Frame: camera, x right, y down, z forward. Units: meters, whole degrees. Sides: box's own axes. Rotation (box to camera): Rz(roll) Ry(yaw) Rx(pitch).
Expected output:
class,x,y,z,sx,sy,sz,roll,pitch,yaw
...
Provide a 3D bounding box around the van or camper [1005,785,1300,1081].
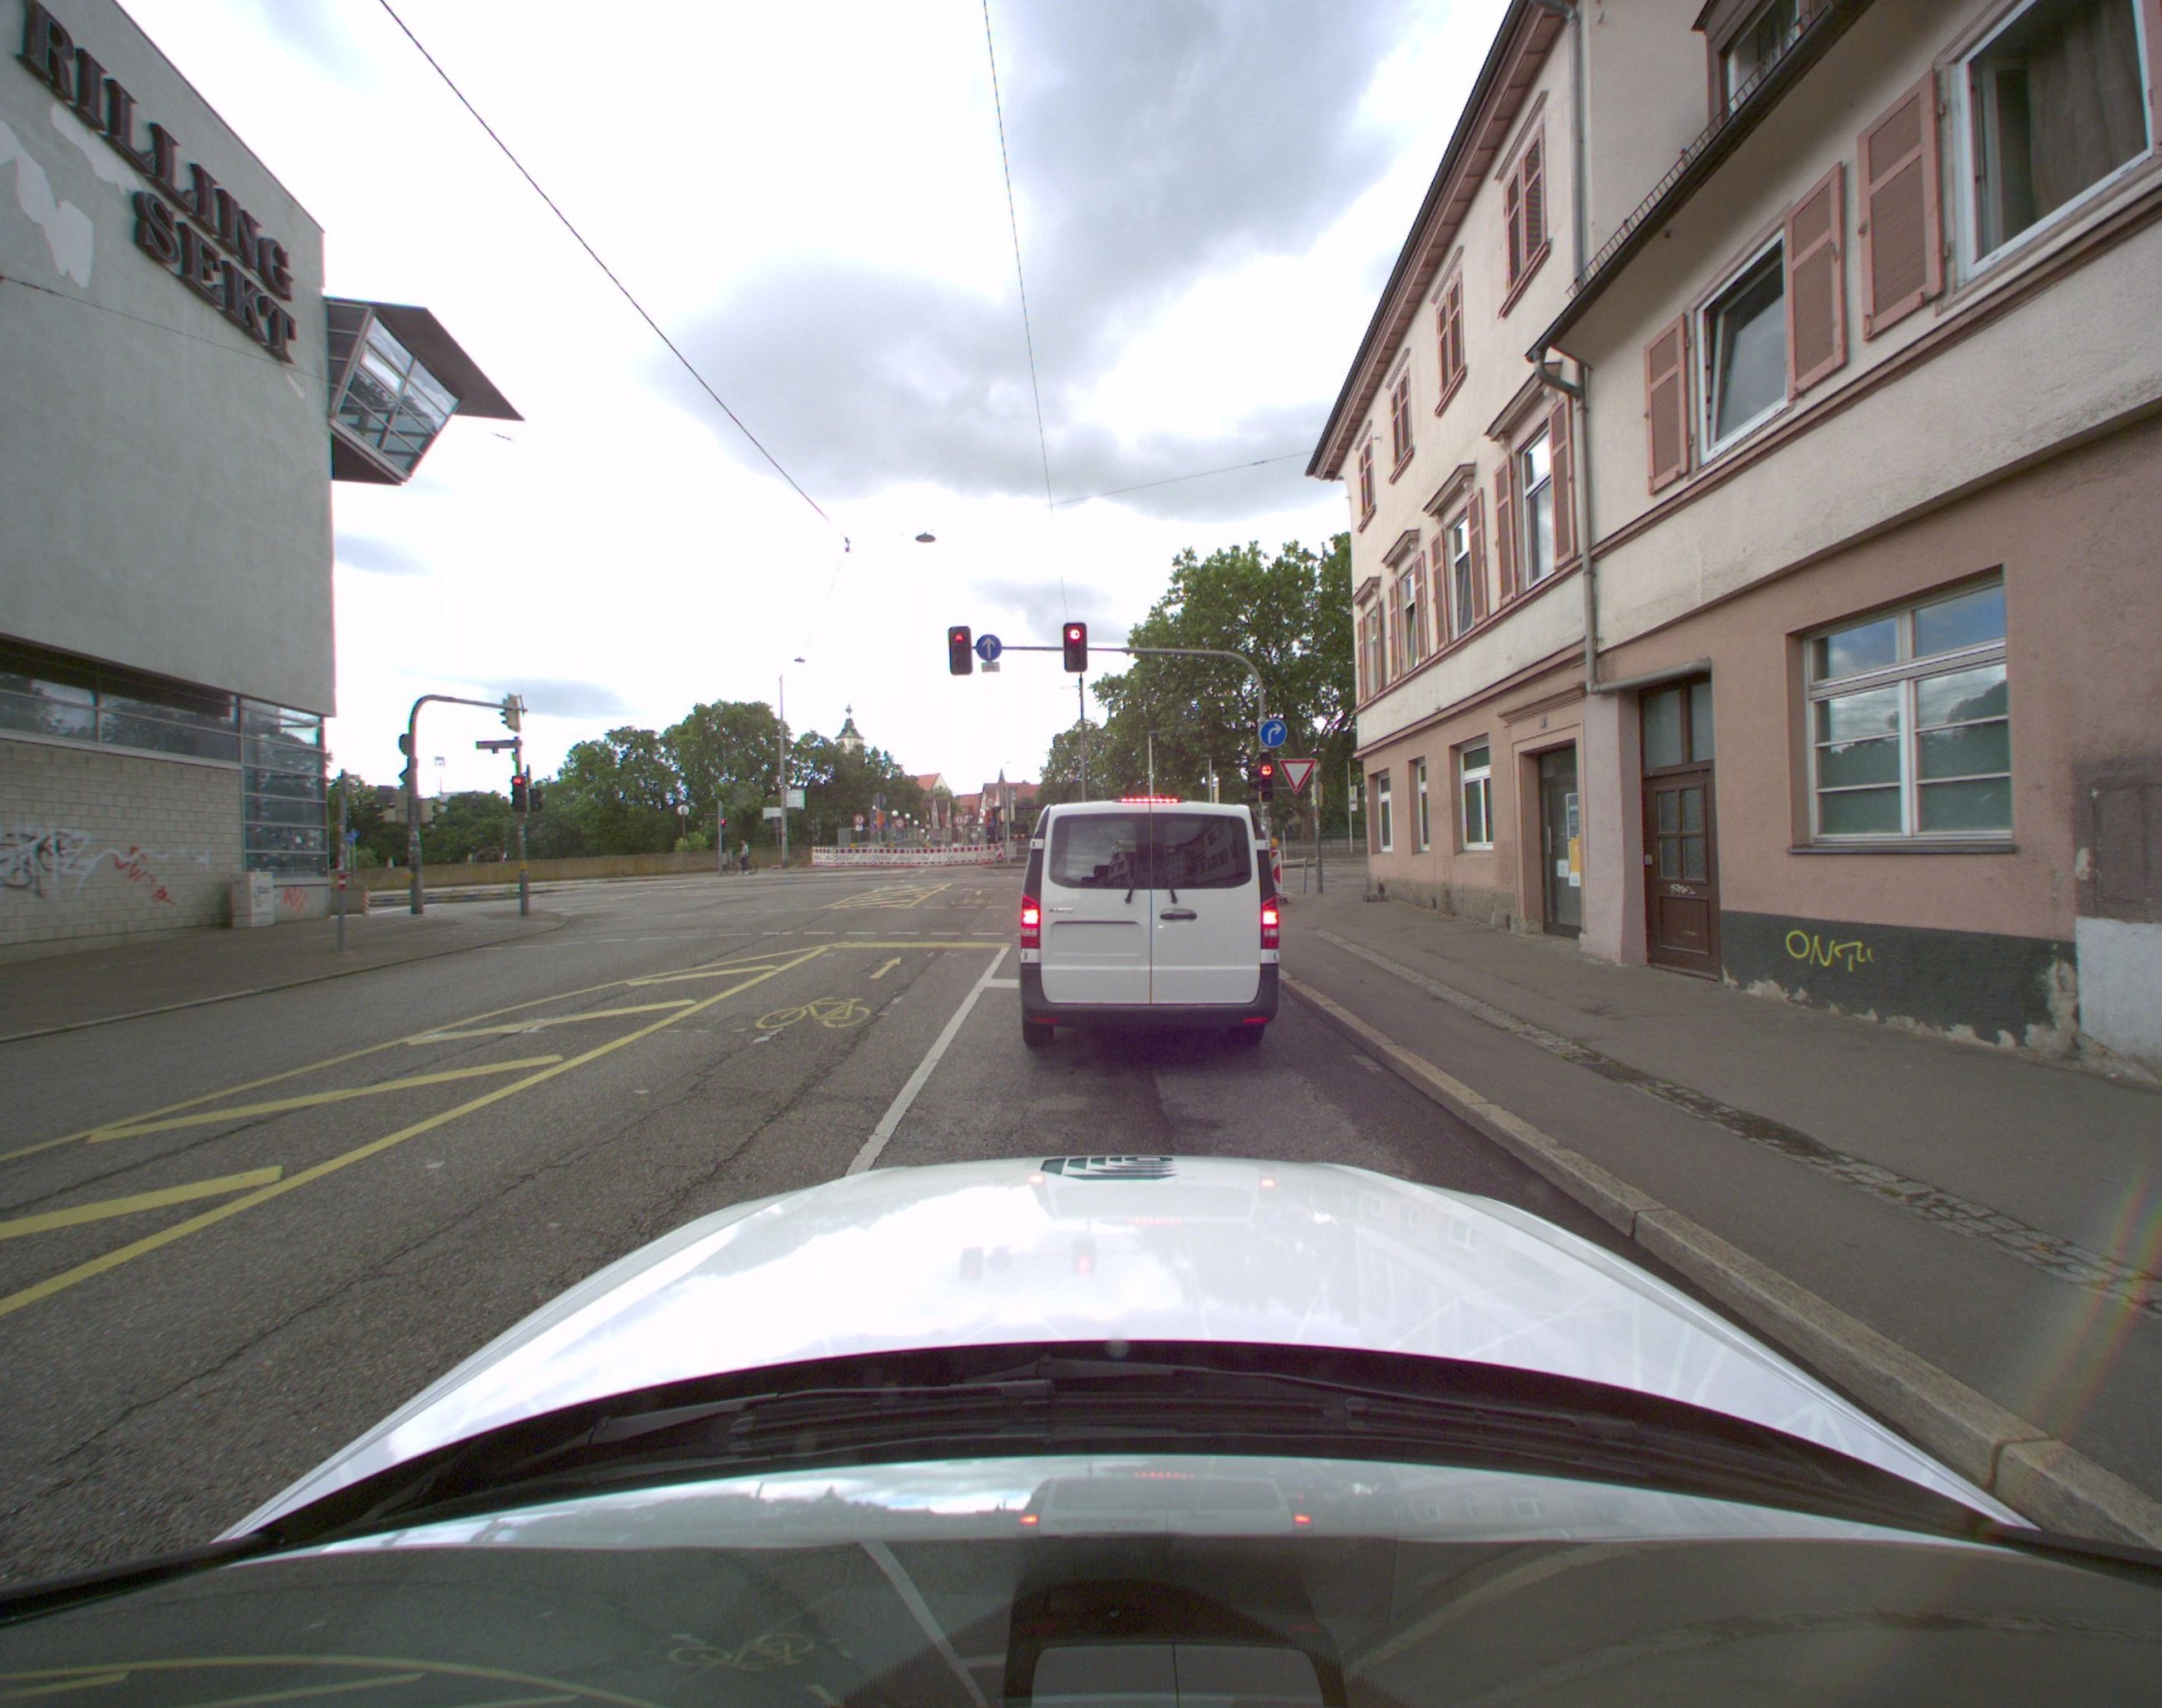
class,x,y,z,sx,sy,sz,roll,pitch,yaw
van or camper,0.435,0.445,7.545,1.932,1.924,4.439,0,2,-1

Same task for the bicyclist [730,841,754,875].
class,x,y,z,sx,sy,sz,roll,pitch,yaw
bicyclist,-18.120,0.198,43.543,1.010,1.743,0.746,-2,1,-39

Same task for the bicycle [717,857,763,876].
class,x,y,z,sx,sy,sz,roll,pitch,yaw
bicycle,-18.207,0.644,43.484,2.149,0.892,0.751,-3,2,-39
